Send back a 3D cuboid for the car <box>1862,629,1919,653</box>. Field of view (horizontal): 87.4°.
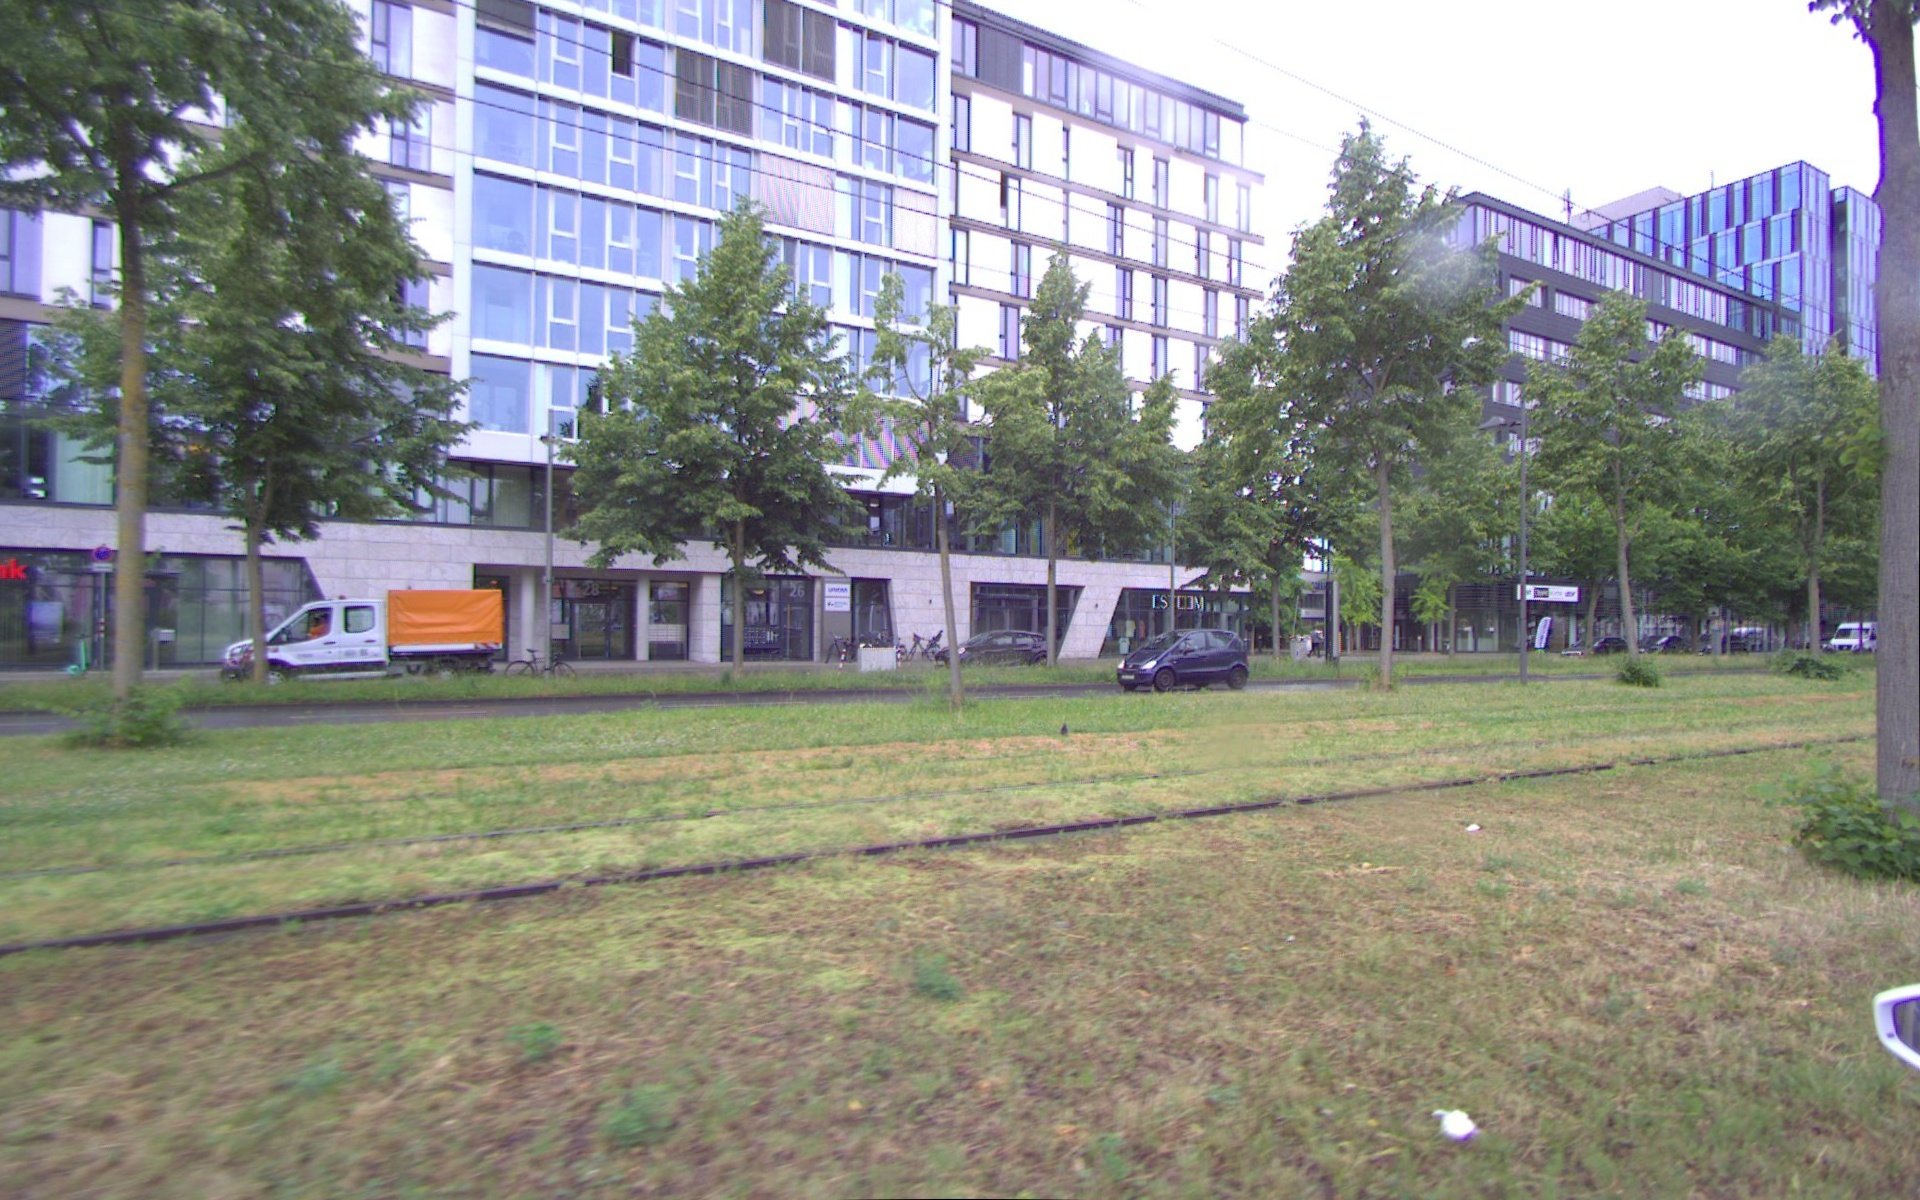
[{"bbox_3d":[64.883,2.833,69.882,4.554,1.541,1.983,1,-1,-31],"label":"car"}]

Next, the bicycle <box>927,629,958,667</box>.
[{"bbox_3d":[-0.747,2.025,42.497,0.600,1.559,1.560,1,-1,-30],"label":"bicycle"}]

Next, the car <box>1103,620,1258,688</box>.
[{"bbox_3d":[5.839,1.383,26.561,3.655,1.678,1.985,1,-1,-30],"label":"car"}]

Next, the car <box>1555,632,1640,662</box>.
[{"bbox_3d":[31.788,2.315,50.053,3.953,1.396,1.984,1,-1,-30],"label":"car"}]

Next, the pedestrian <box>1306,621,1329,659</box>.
[{"bbox_3d":[19.258,2.147,54.165,0.843,2.007,0.793,1,-1,-22],"label":"pedestrian"}]

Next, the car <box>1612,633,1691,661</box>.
[{"bbox_3d":[36.854,2.460,53.504,3.953,1.396,1.984,1,-1,-30],"label":"car"}]

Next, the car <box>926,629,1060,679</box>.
[{"bbox_3d":[1.079,1.702,32.380,3.942,1.484,1.846,1,-2,-31],"label":"car"}]

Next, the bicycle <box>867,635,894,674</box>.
[{"bbox_3d":[-3.245,2.199,40.833,0.540,1.502,1.425,1,-1,-30],"label":"bicycle"}]

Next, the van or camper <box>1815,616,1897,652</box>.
[{"bbox_3d":[59.763,2.245,66.953,5.781,2.346,2.422,1,-1,-30],"label":"van or camper"}]

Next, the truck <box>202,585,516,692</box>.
[{"bbox_3d":[-14.278,0.909,24.345,6.235,2.322,2.415,1,-1,-30],"label":"truck"}]

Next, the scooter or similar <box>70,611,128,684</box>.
[{"bbox_3d":[-22.914,1.229,26.770,0.876,1.849,2.112,1,-1,-33],"label":"scooter or similar"}]

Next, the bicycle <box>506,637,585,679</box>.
[{"bbox_3d":[-9.967,1.379,24.165,1.734,0.957,0.597,1,-1,-27],"label":"bicycle"}]

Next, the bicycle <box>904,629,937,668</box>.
[{"bbox_3d":[-1.652,2.004,41.659,0.673,1.559,1.695,1,-1,-30],"label":"bicycle"}]
